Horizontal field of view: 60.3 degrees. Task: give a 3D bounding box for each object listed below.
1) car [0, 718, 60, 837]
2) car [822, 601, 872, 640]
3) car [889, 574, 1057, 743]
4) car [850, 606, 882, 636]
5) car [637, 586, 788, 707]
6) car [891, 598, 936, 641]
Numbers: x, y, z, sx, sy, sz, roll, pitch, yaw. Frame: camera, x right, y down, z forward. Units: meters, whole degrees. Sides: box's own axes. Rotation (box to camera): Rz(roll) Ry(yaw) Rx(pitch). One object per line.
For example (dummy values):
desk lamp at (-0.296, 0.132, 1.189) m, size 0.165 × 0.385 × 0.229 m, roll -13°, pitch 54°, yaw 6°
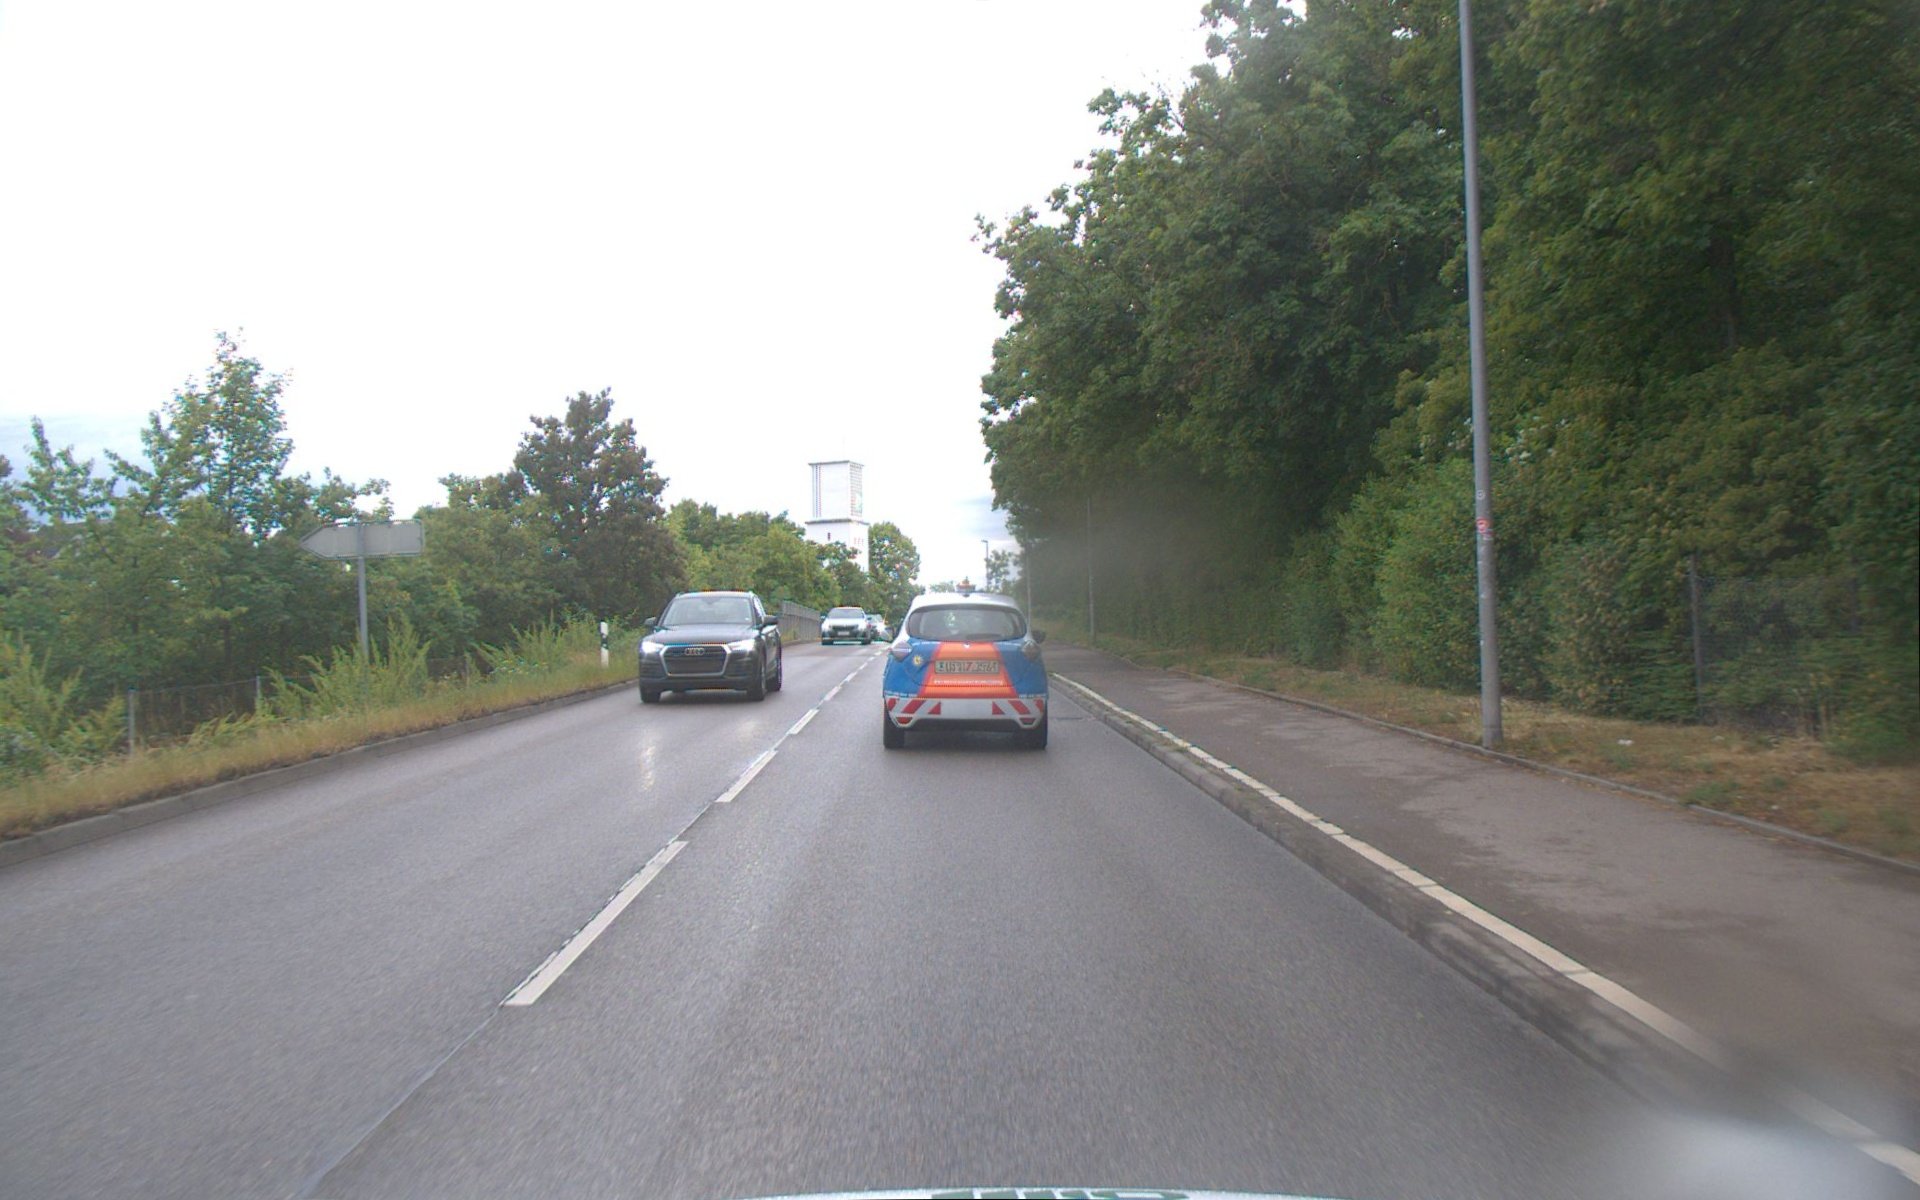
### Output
car at (-14.173, 2.517, 21.948) m, size 1.617 × 1.550 × 4.071 m, roll -3°, pitch 0°, yaw 12°
car at (-4.624, 0.808, 68.039) m, size 1.824 × 1.530 × 4.726 m, roll -1°, pitch 0°, yaw -2°
car at (0.089, 0.606, 17.907) m, size 1.624 × 1.621 × 3.567 m, roll -1°, pitch -1°, yaw -1°
car at (-5.345, 1.184, 94.026) m, size 1.695 × 1.613 × 4.079 m, roll -1°, pitch 0°, yaw -2°
car at (-3.801, 0.654, 26.081) m, size 1.831 × 1.613 × 4.413 m, roll 1°, pitch 2°, yaw -2°
car at (-1.920, 0.796, 67.869) m, size 1.766 × 1.618 × 3.561 m, roll -2°, pitch -1°, yaw -2°
